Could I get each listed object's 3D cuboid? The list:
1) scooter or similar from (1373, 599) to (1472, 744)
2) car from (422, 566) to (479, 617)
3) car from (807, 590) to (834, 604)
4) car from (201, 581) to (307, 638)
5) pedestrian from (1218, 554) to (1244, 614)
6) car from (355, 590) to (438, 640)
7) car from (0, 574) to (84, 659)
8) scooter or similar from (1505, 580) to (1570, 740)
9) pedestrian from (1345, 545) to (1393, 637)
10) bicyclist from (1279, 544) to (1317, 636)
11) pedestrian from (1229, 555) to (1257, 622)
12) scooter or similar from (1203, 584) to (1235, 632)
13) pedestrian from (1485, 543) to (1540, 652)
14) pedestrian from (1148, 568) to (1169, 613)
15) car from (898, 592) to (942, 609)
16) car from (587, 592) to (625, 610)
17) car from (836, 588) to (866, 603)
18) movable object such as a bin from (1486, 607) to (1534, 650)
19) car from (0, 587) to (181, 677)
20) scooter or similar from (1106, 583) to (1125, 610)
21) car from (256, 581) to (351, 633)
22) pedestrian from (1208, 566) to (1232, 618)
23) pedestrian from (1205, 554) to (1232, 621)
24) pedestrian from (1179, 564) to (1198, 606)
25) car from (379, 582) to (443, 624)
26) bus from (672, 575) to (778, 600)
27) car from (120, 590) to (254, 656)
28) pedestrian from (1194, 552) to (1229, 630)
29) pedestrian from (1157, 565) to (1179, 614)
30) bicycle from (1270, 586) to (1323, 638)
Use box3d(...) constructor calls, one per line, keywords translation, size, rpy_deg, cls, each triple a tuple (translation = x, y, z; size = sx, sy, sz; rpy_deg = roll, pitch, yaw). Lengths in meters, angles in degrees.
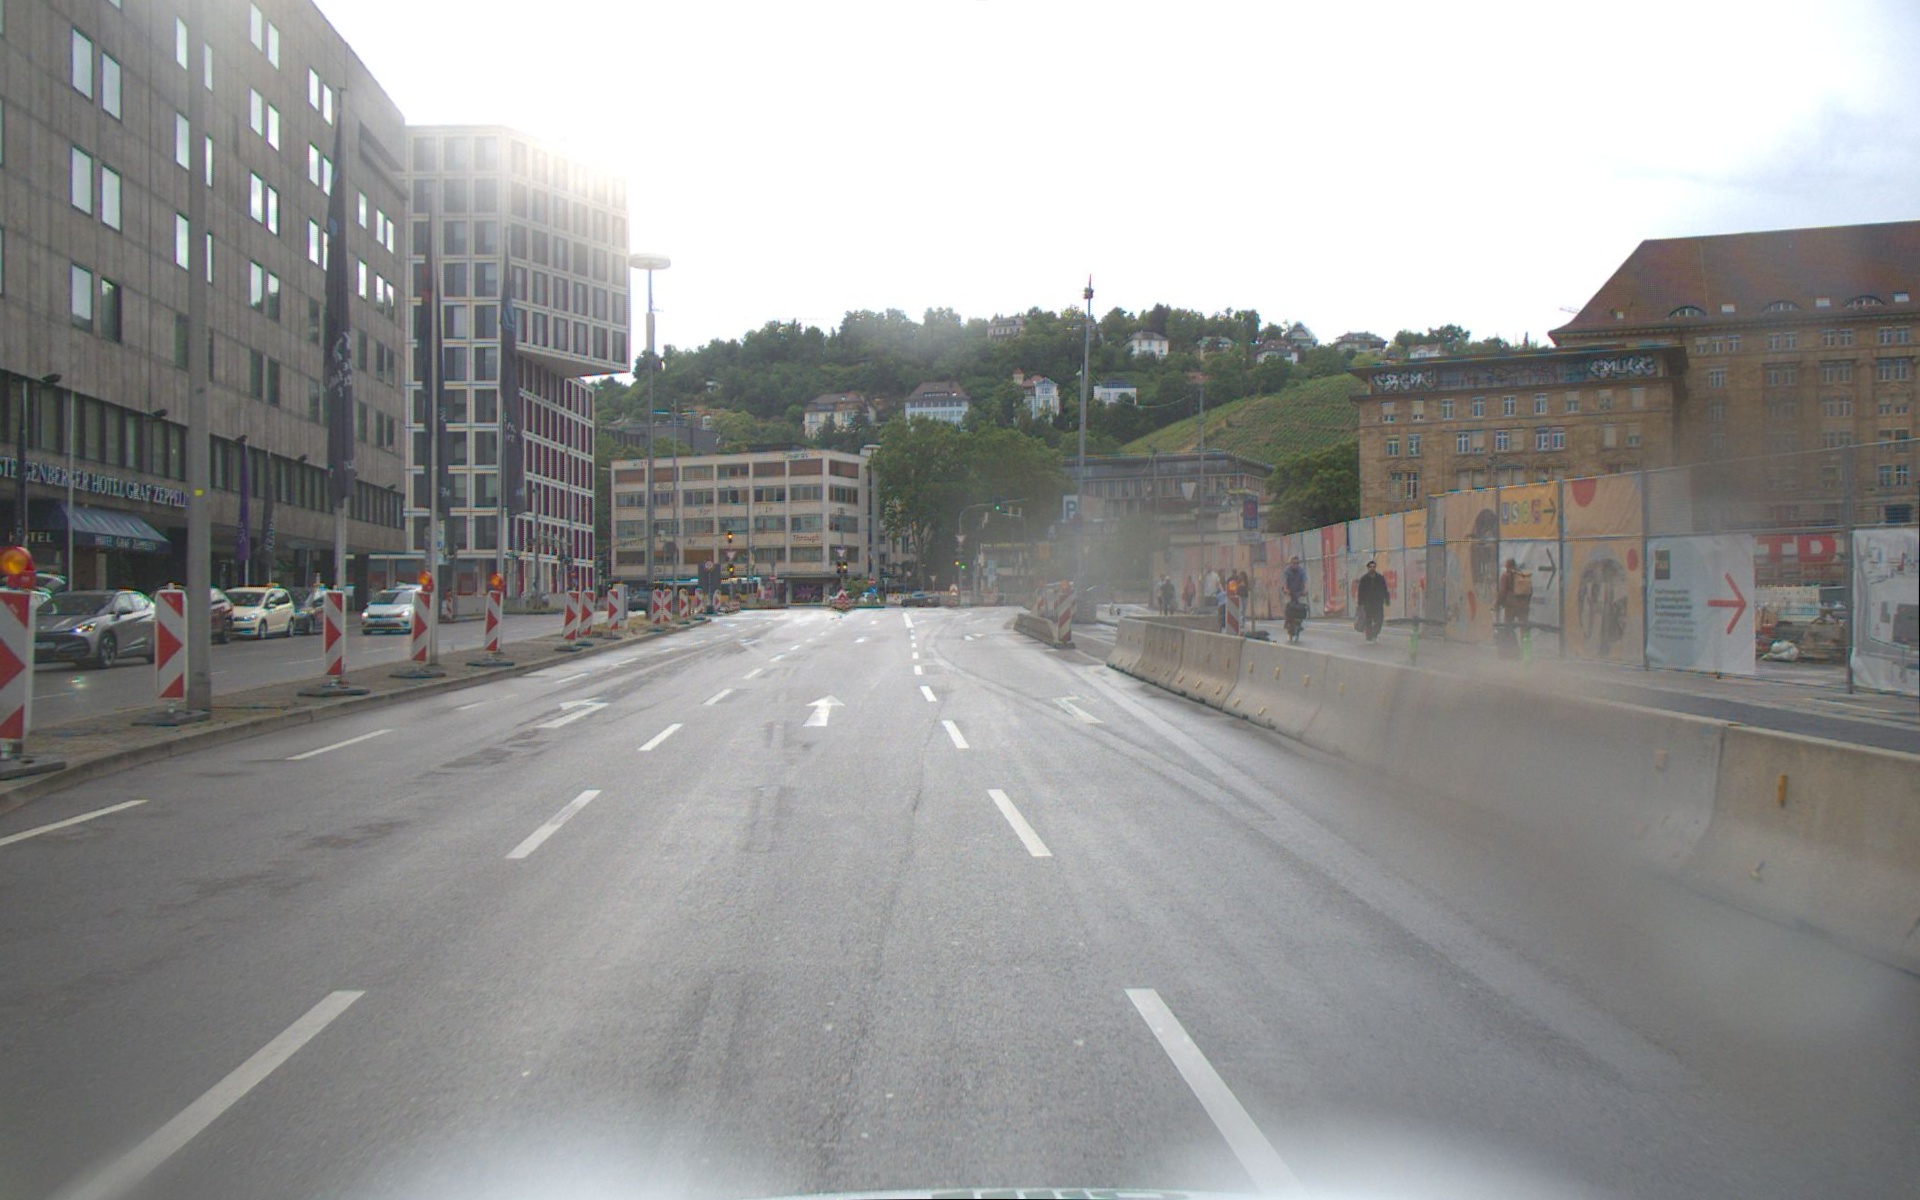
box3d(translation=(4.515, 0.676, 16.185), size=(0.515, 1.357, 1.022), rpy_deg=(-1, 0, -12), cls="scooter or similar")
box3d(translation=(-24.628, -0.413, 80.099), size=(1.739, 2.368, 4.367), rpy_deg=(-1, 0, -5), cls="car")
box3d(translation=(-15.894, -0.339, 188.114), size=(1.710, 1.518, 4.042), rpy_deg=(-1, 1, -27), cls="car")
box3d(translation=(-22.660, 0.288, 53.255), size=(1.780, 1.727, 4.573), rpy_deg=(-1, 0, -5), cls="car")
box3d(translation=(8.878, -0.530, 54.178), size=(0.670, 1.922, 0.693), rpy_deg=(-1, 0, -4), cls="pedestrian")
box3d(translation=(-19.966, 0.501, 58.779), size=(1.788, 1.698, 4.495), rpy_deg=(-1, 0, -5), cls="car")
box3d(translation=(-21.343, 0.364, 36.667), size=(1.720, 1.789, 4.705), rpy_deg=(-1, 0, -6), cls="car")
box3d(translation=(5.098, 0.508, 14.583), size=(0.481, 1.357, 1.025), rpy_deg=(-1, 0, 22), cls="scooter or similar")
box3d(translation=(8.661, -0.188, 35.015), size=(0.831, 1.928, 0.662), rpy_deg=(-1, 0, -1), cls="pedestrian")
box3d(translation=(7.607, -0.231, 37.263), size=(0.712, 2.049, 0.599), rpy_deg=(-1, 0, 0), cls="bicyclist")
box3d(translation=(8.194, -0.336, 47.950), size=(0.669, 1.922, 0.693), rpy_deg=(-1, 0, 0), cls="pedestrian")
box3d(translation=(6.774, 0.200, 43.272), size=(0.651, 1.219, 1.044), rpy_deg=(-1, 0, 0), cls="scooter or similar")
box3d(translation=(9.916, -0.045, 29.708), size=(0.751, 1.928, 0.654), rpy_deg=(-1, 0, 0), cls="pedestrian")
box3d(translation=(7.972, -0.380, 66.355), size=(0.670, 1.771, 0.907), rpy_deg=(-1, 0, -3), cls="pedestrian")
box3d(translation=(-3.868, 0.039, 159.066), size=(3.994, 1.518, 1.730), rpy_deg=(0, 1, 35), cls="car")
box3d(translation=(-37.440, 0.091, 174.883), size=(3.923, 1.847, 1.797), rpy_deg=(0, 1, 38), cls="car")
box3d(translation=(-11.885, -0.480, 180.273), size=(1.711, 1.518, 4.038), rpy_deg=(-1, 1, -29), cls="car")
box3d(translation=(9.720, 0.500, 29.247), size=(0.584, 0.747, 0.778), rpy_deg=(-1, 0, 1), cls="movable object such as a bin")
box3d(translation=(-18.110, 0.608, 34.537), size=(1.739, 1.698, 4.497), rpy_deg=(-2, 1, -4), cls="car")
box3d(translation=(6.869, -0.157, 73.248), size=(0.459, 1.204, 1.411), rpy_deg=(-1, 0, -10), cls="scooter or similar")
box3d(translation=(-23.294, 0.237, 58.851), size=(1.780, 1.758, 4.512), rpy_deg=(-1, 0, -3), cls="car")
box3d(translation=(9.613, -0.314, 61.136), size=(0.689, 1.898, 0.990), rpy_deg=(-1, 0, -1), cls="pedestrian")
box3d(translation=(7.495, -0.357, 47.987), size=(0.669, 1.922, 0.693), rpy_deg=(-1, 0, 0), cls="pedestrian")
box3d(translation=(10.595, -0.692, 76.685), size=(0.705, 1.898, 0.709), rpy_deg=(-1, 0, -3), cls="pedestrian")
box3d(translation=(-24.643, 0.124, 74.369), size=(1.739, 1.793, 4.367), rpy_deg=(-1, 0, -5), cls="car")
box3d(translation=(-27.628, -1.474, 193.703), size=(13.688, 2.798, 3.201), rpy_deg=(0, 1, 35), cls="bus")
box3d(translation=(-22.283, 0.629, 47.859), size=(1.864, 1.799, 4.644), rpy_deg=(-1, 0, -3), cls="car")
box3d(translation=(6.736, -0.236, 44.291), size=(0.786, 2.051, 0.972), rpy_deg=(-1, 0, 0), cls="pedestrian")
box3d(translation=(7.647, -0.386, 60.843), size=(0.629, 1.771, 0.837), rpy_deg=(-1, 0, -3), cls="pedestrian")
box3d(translation=(7.531, 0.246, 37.094), size=(0.750, 1.131, 1.981), rpy_deg=(-1, 0, 0), cls="bicycle")
